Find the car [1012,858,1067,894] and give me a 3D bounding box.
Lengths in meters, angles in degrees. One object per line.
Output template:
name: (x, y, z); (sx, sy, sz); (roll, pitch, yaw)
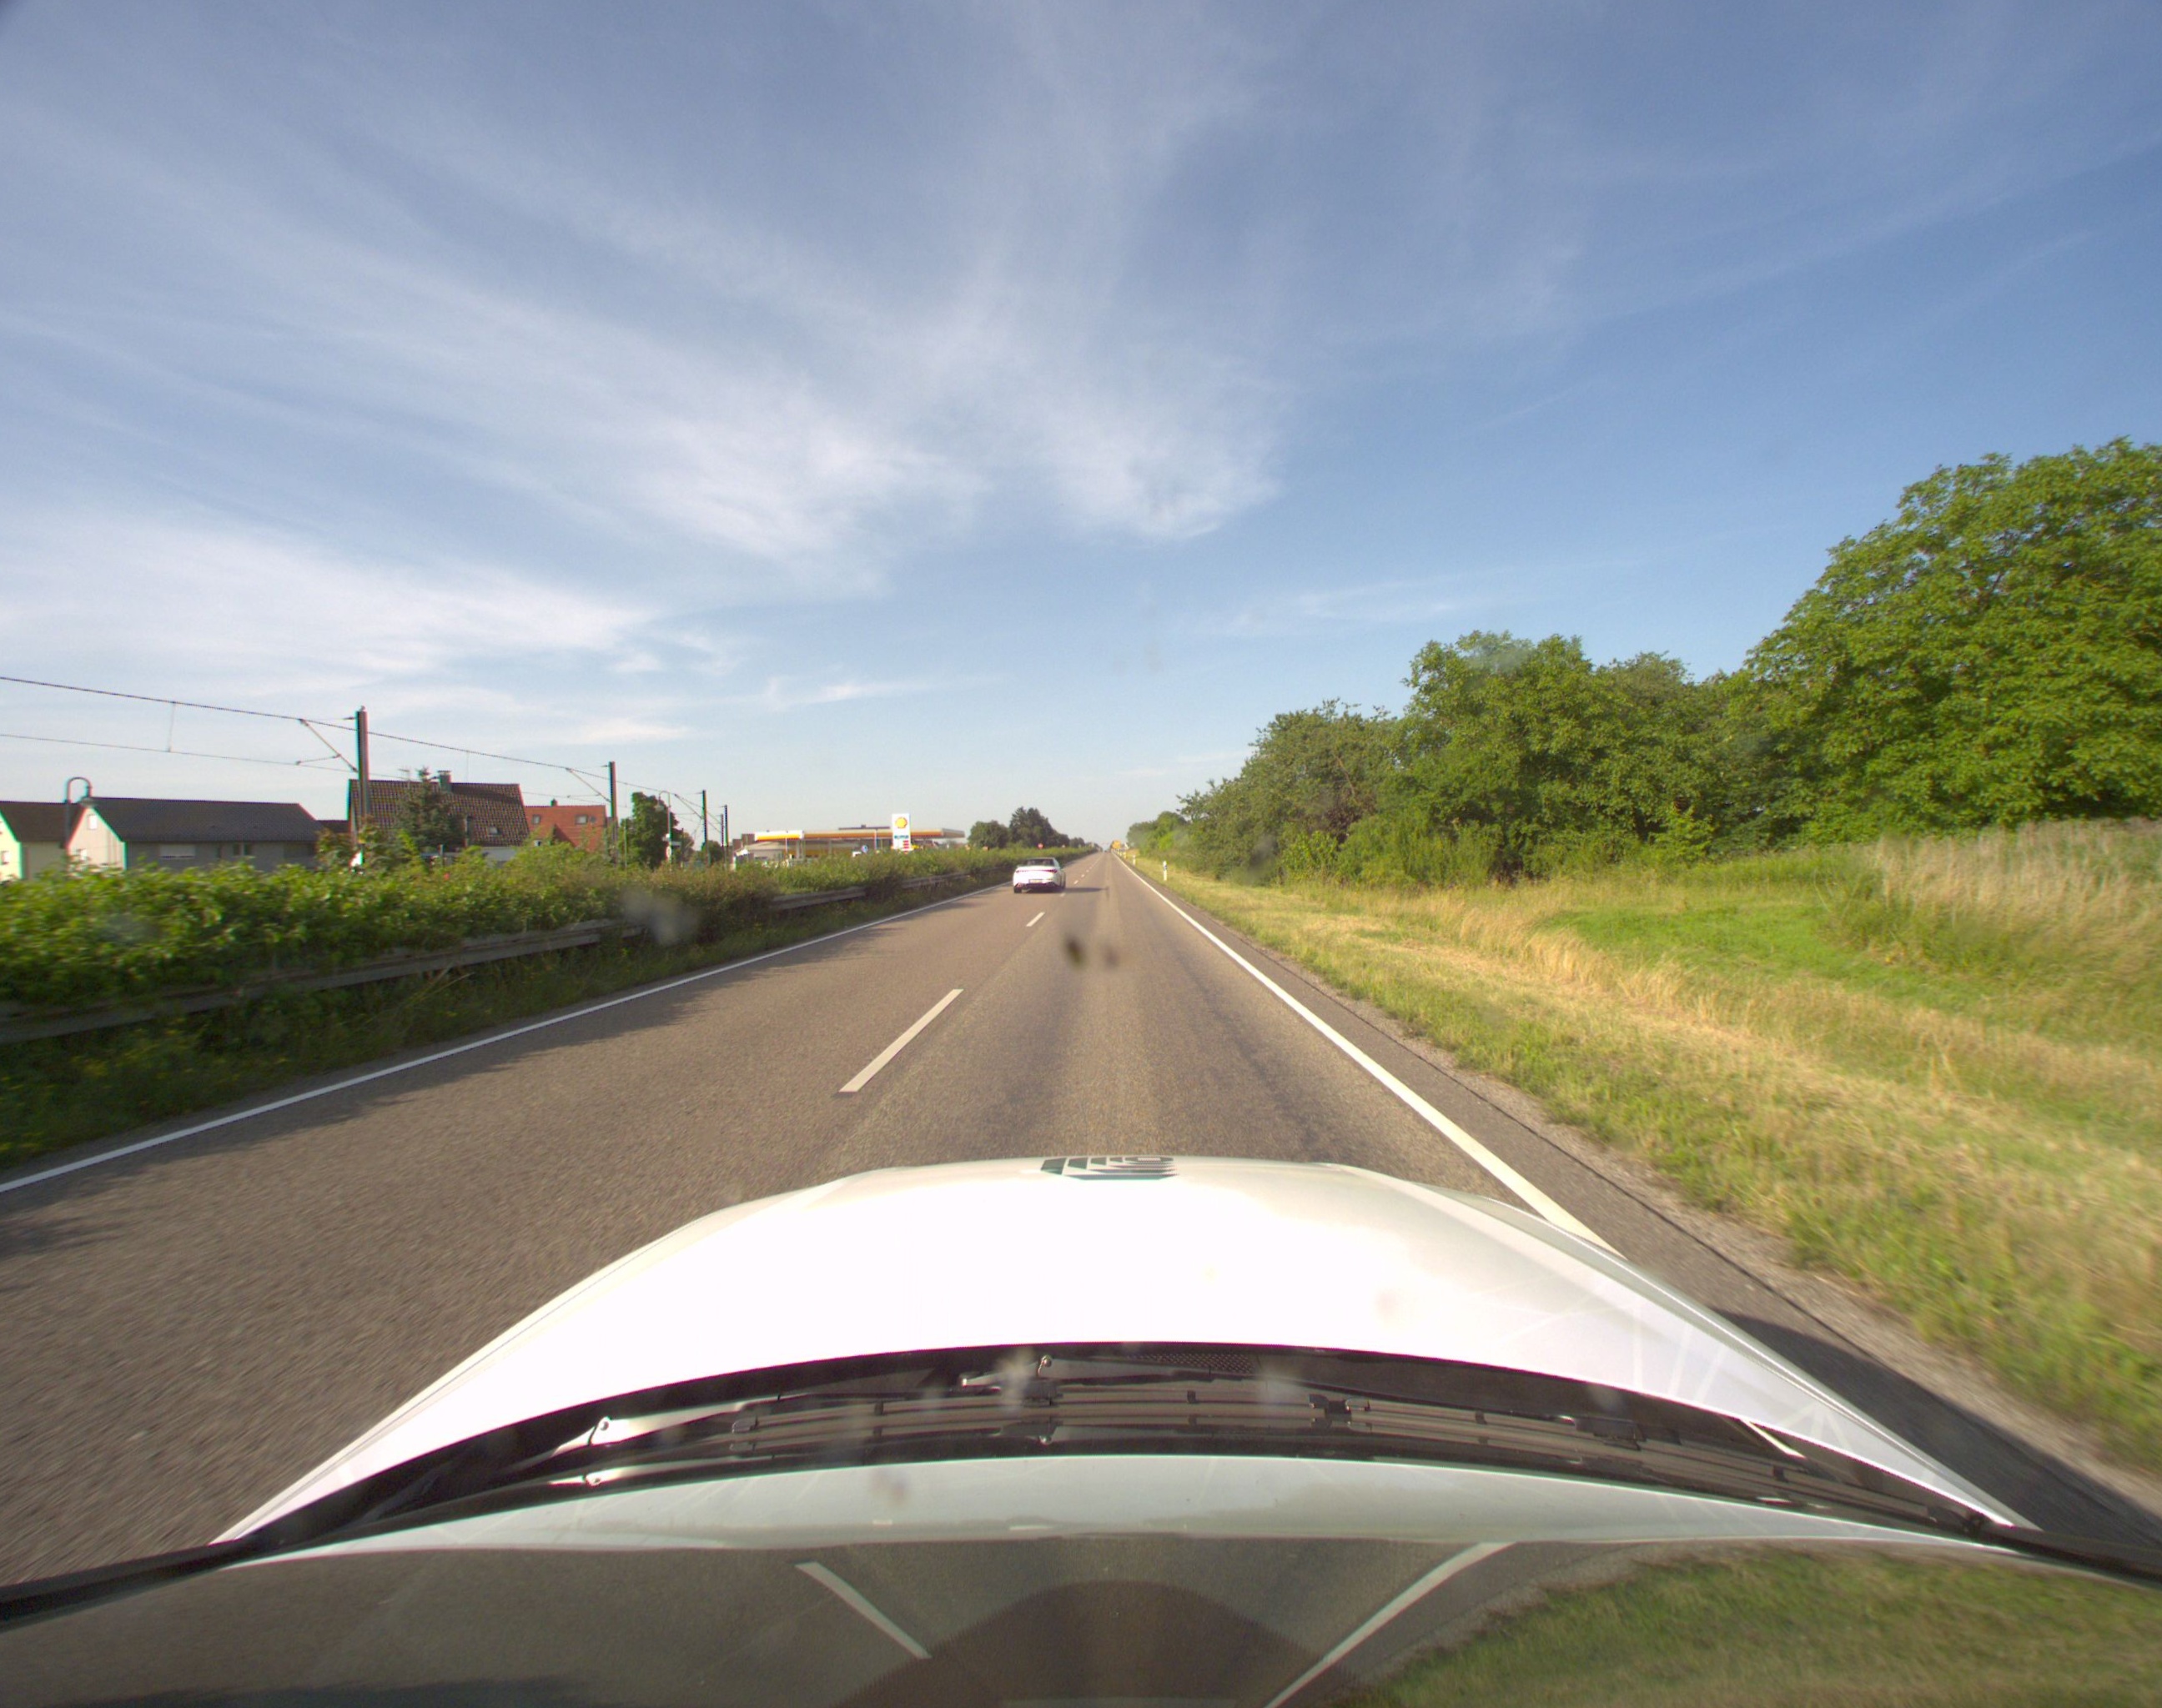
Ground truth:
car: (-1.618, 0.826, 33.289); (1.764, 1.337, 4.953); (0, 0, 2)
